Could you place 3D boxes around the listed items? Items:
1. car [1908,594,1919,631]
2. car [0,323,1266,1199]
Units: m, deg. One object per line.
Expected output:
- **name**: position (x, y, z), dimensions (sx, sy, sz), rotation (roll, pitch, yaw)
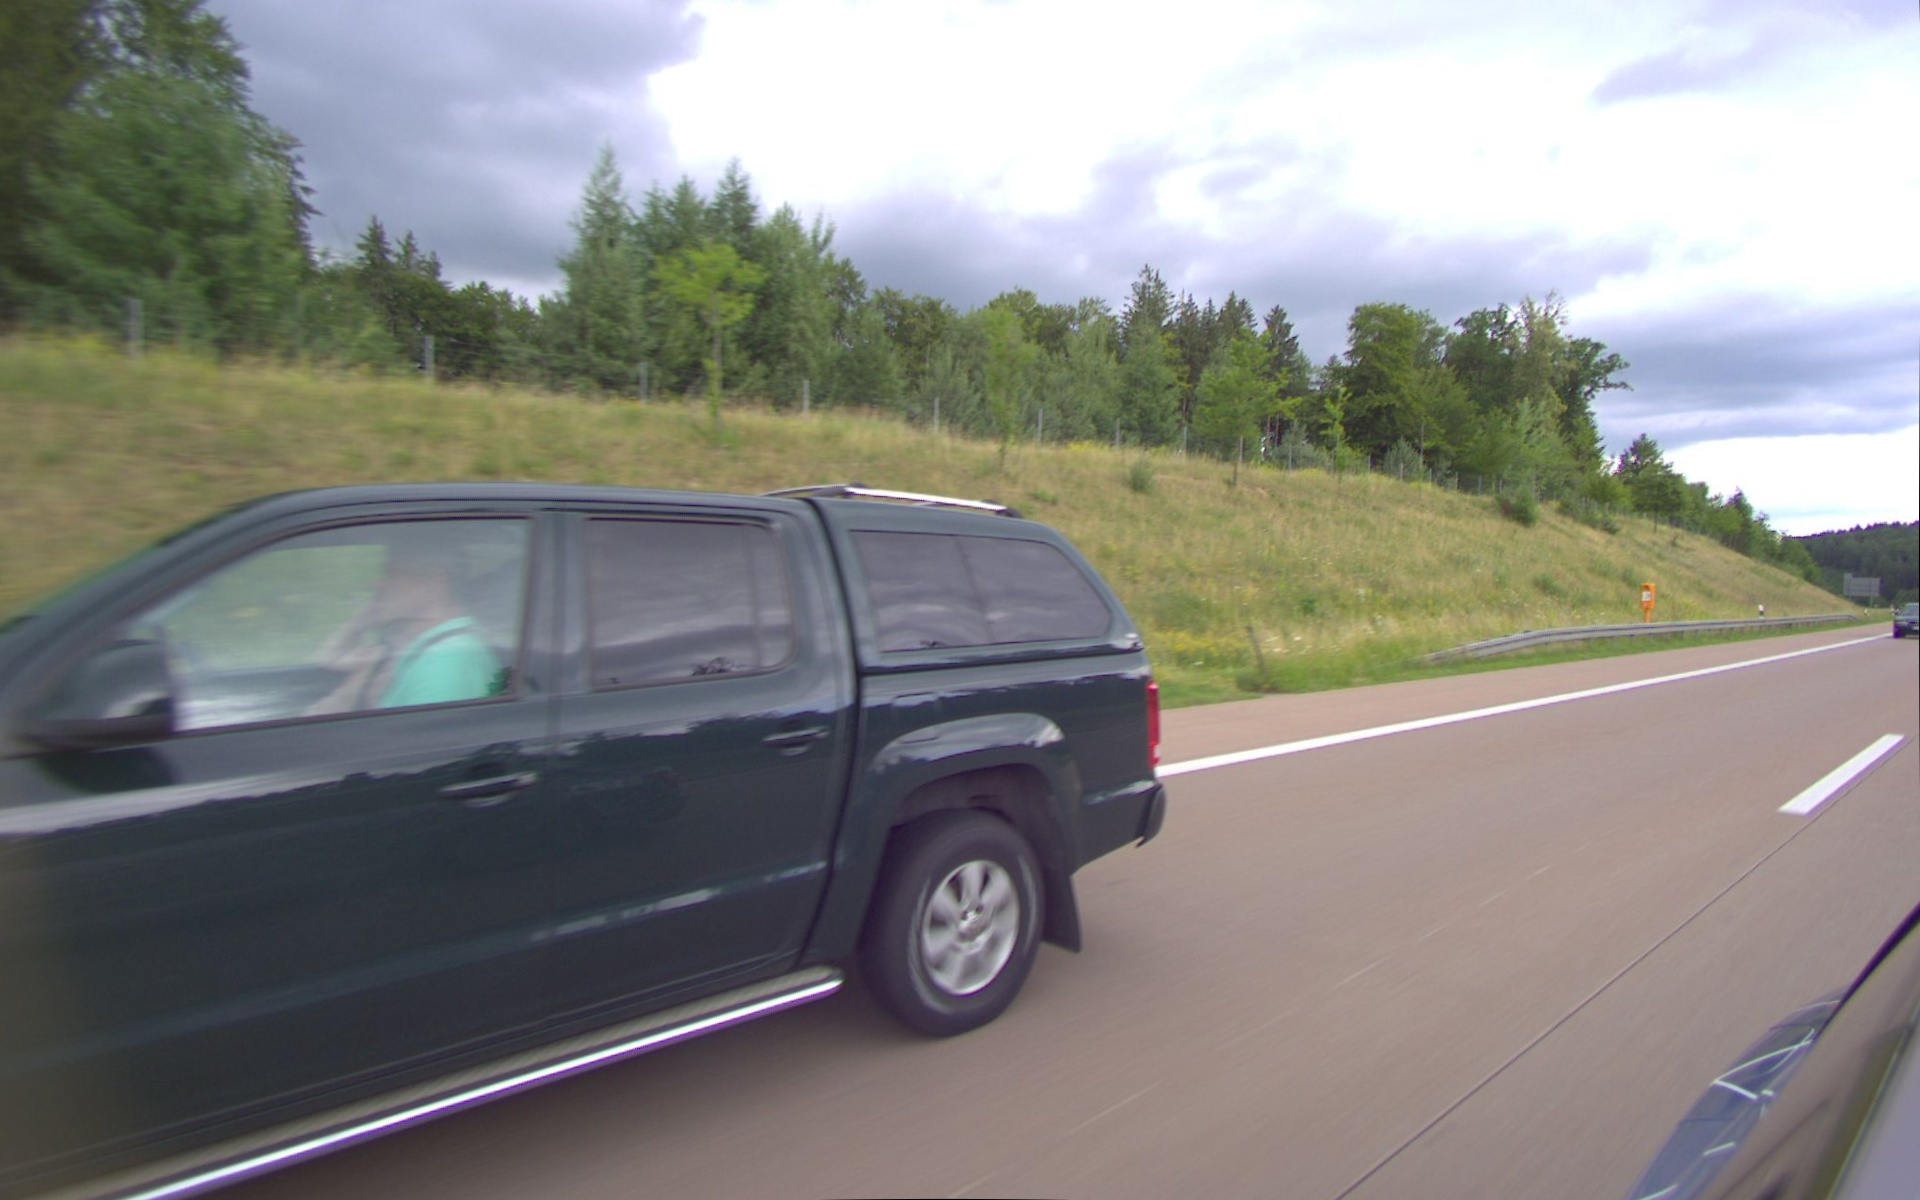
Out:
- **car**: position (39.916, 0.499, 41.127), dimensions (4.161, 1.420, 1.674), rotation (-1, 2, -42)
- **car**: position (-1.393, 0.430, 3.429), dimensions (5.480, 1.920, 2.048), rotation (-1, 2, -41)
